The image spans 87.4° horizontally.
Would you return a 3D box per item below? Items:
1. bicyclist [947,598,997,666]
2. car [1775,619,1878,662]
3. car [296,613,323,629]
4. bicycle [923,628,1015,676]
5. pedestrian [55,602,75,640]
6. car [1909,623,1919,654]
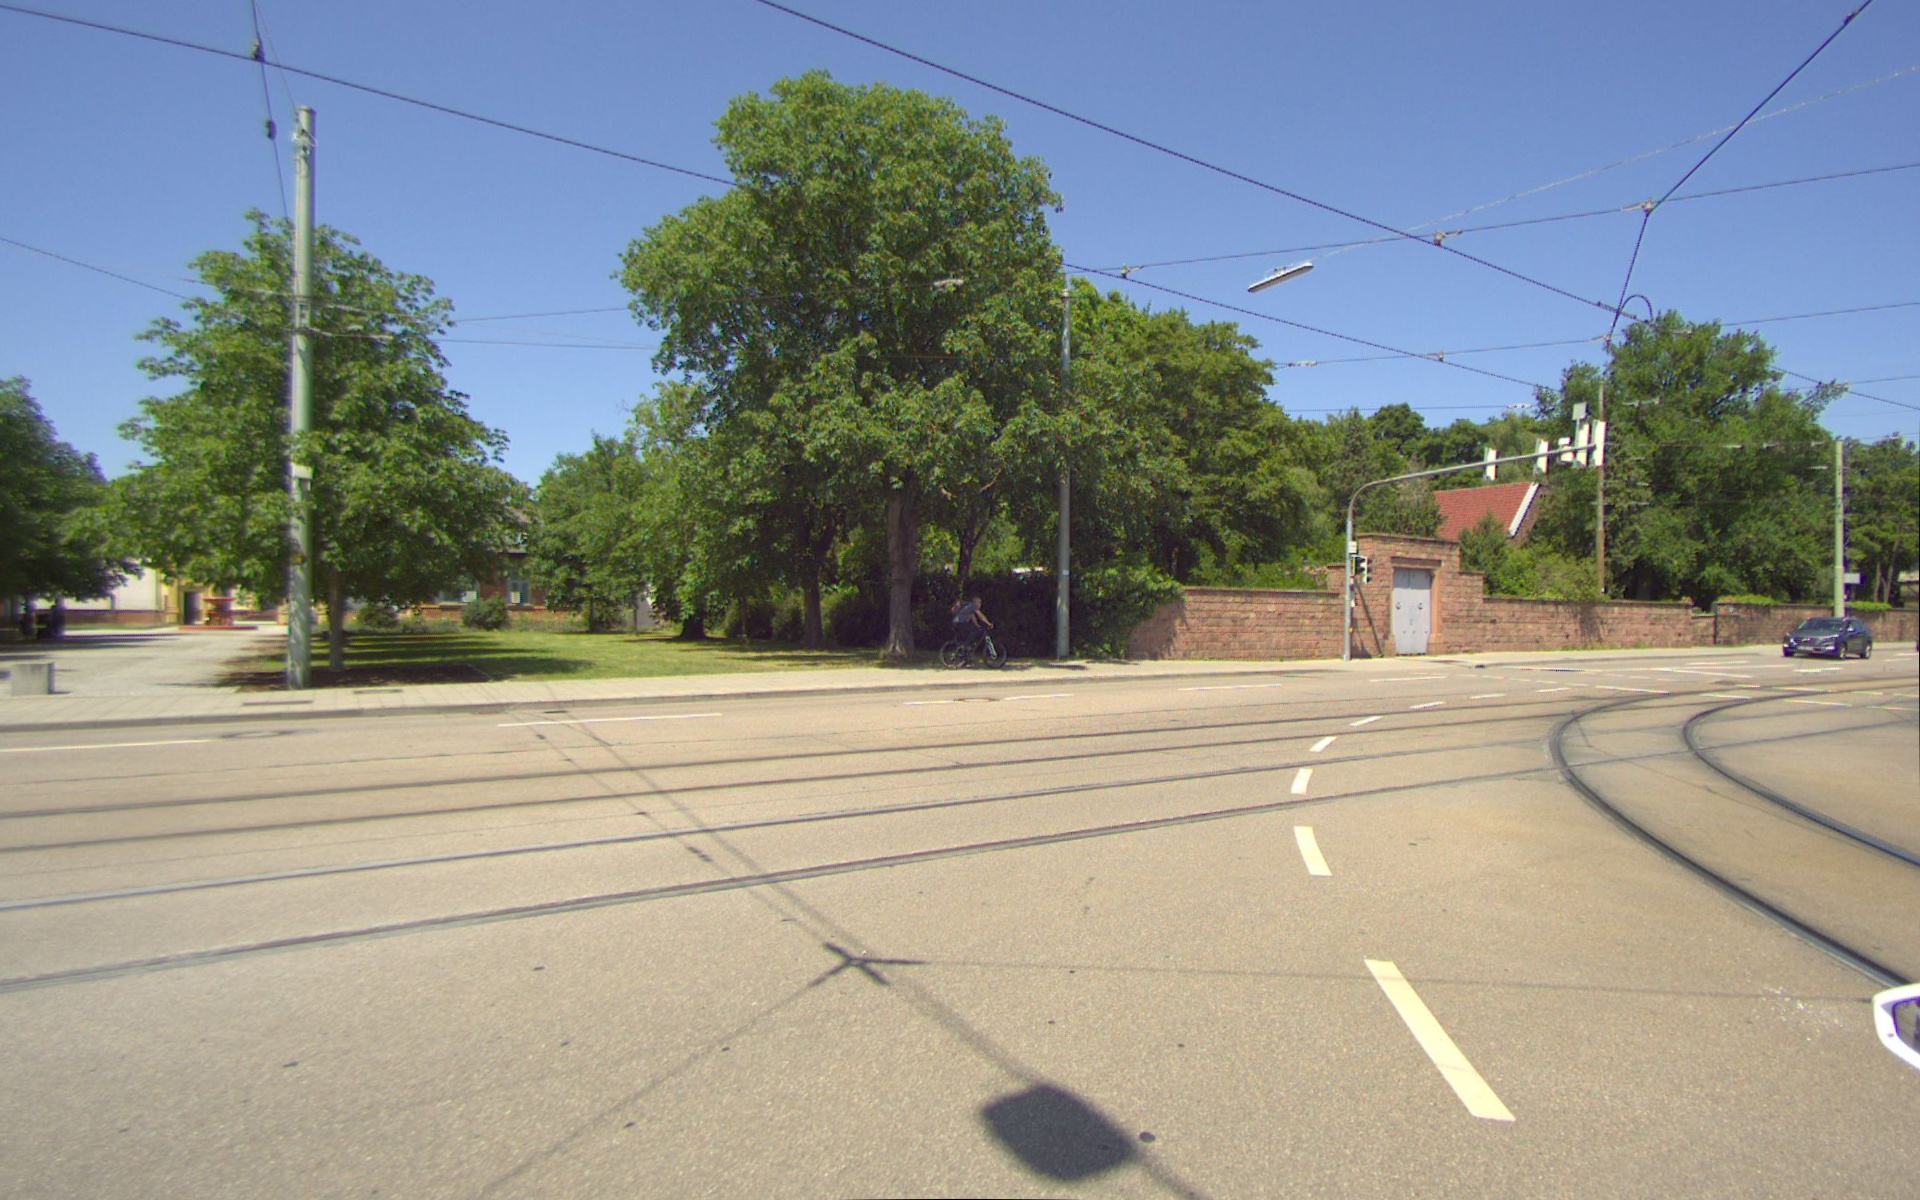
[{"bbox_3d":[0.280,0.728,23.355,0.835,1.551,0.846,1,0,-31],"label":"bicyclist"},{"bbox_3d":[34.906,1.600,40.453,4.467,1.624,1.811,1,0,-30],"label":"car"},{"bbox_3d":[-39.626,1.265,61.230,1.316,0.964,2.712,1,-1,-32],"label":"car"},{"bbox_3d":[0.218,1.196,23.342,2.079,1.055,0.711,1,0,-31],"label":"bicycle"},{"bbox_3d":[-35.883,0.837,40.274,0.527,1.503,0.523,0,0,-33],"label":"pedestrian"},{"bbox_3d":[47.603,1.880,48.337,4.117,1.440,1.634,1,1,-29],"label":"car"}]
